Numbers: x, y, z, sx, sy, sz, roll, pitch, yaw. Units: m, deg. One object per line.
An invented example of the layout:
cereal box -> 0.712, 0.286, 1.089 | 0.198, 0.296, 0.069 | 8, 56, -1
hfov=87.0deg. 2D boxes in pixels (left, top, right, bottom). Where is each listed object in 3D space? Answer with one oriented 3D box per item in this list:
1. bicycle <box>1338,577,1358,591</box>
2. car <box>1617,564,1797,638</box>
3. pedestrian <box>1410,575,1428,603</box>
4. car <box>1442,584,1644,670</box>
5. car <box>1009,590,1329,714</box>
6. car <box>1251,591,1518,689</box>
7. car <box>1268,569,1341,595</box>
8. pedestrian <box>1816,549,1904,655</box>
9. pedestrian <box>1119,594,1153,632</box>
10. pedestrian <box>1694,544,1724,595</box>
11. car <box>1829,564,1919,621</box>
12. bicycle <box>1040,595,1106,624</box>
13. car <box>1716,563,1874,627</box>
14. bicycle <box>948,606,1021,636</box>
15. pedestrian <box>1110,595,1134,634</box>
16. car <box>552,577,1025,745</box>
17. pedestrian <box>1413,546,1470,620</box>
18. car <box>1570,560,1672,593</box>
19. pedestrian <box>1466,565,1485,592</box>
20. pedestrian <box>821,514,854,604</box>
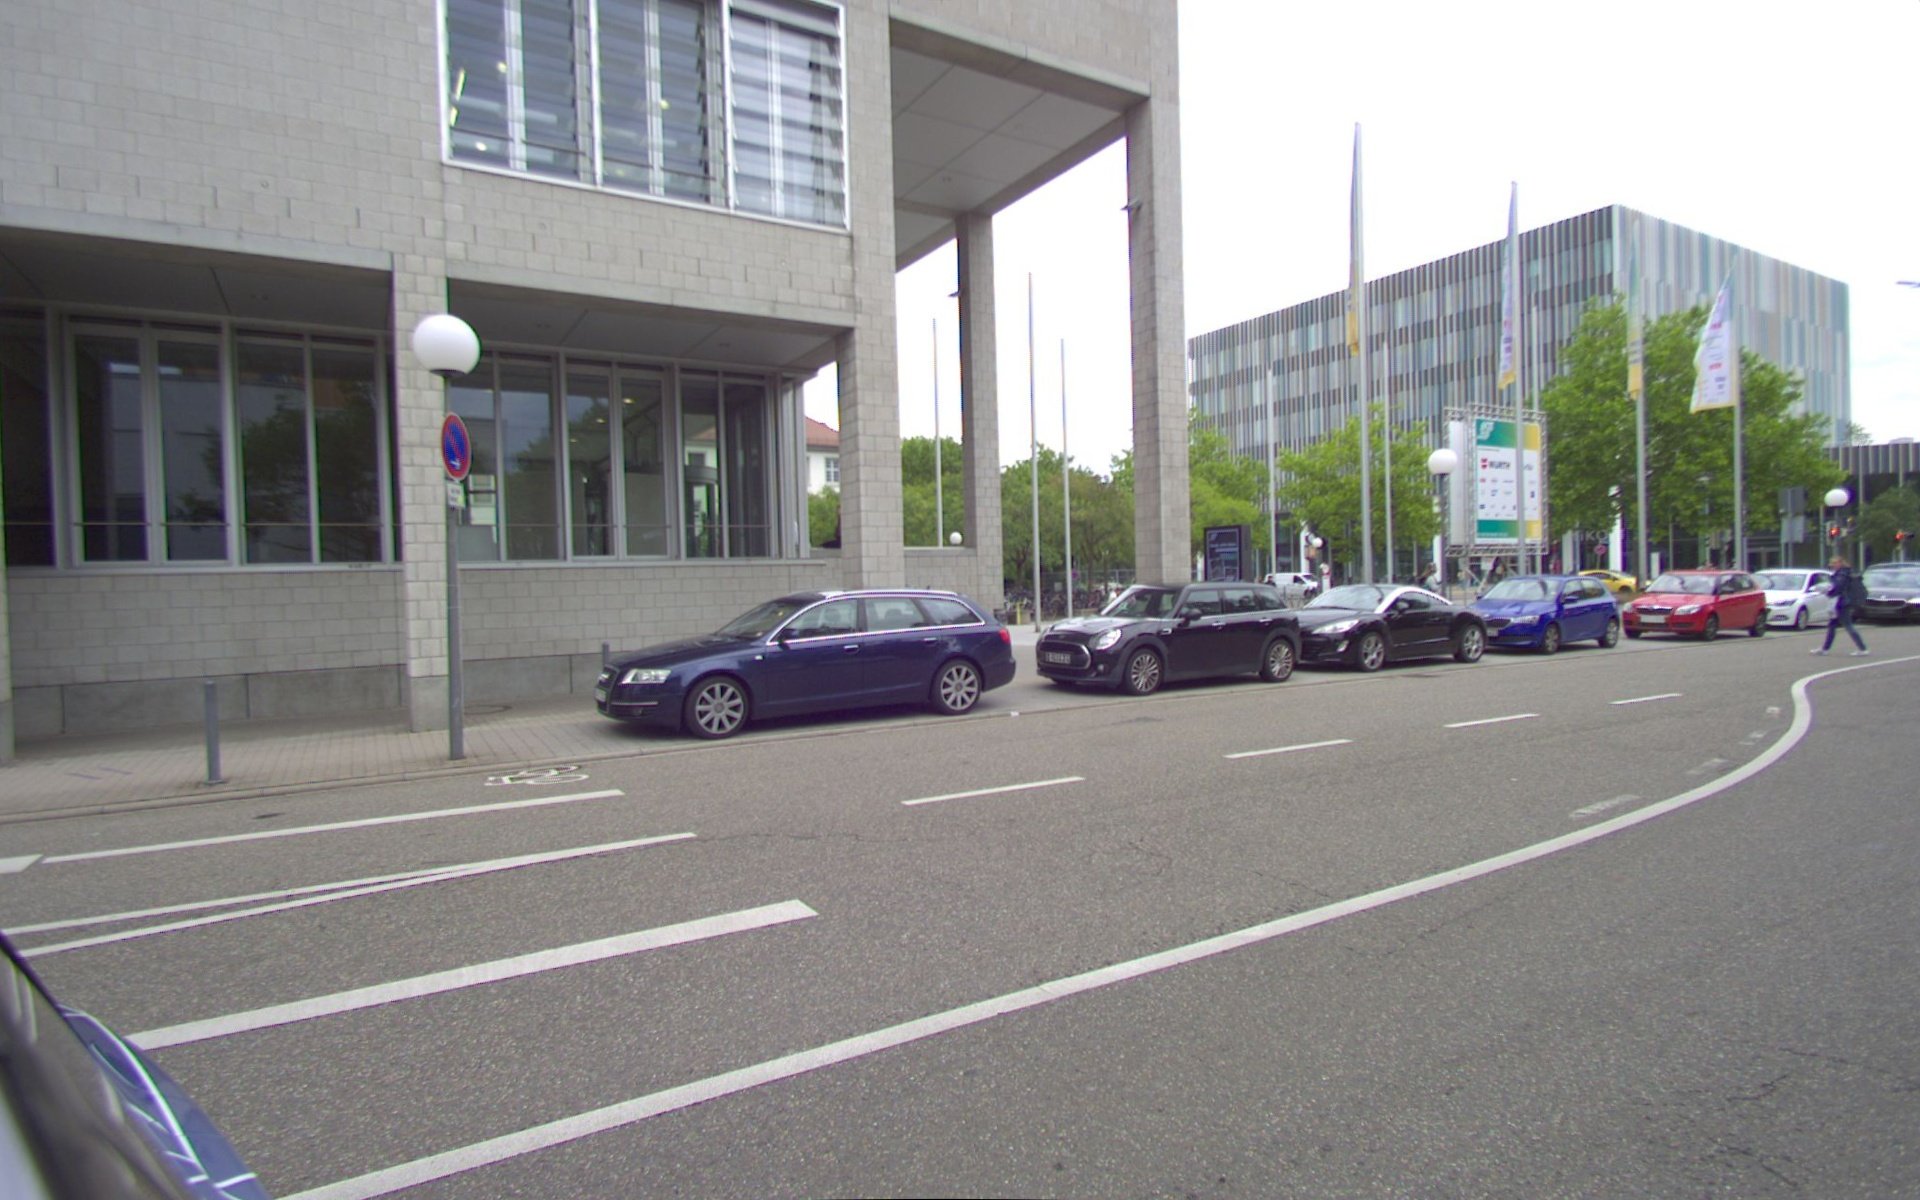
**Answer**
bicycle -> 36.737, -1.498, 95.821 | 2.069, 1.268, 0.630 | -2, 0, -33
car -> 16.463, -0.031, 22.258 | 4.201, 1.484, 1.723 | -1, 2, -31
pedestrian -> 34.469, -0.838, 76.044 | 0.985, 2.029, 0.856 | 2, -3, -42
car -> 11.420, 0.458, 19.726 | 4.304, 1.422, 1.705 | -2, 1, -35
car -> 3.052, 0.626, 14.433 | 4.444, 1.454, 1.829 | -1, 1, -32
car -> 7.147, 0.619, 16.953 | 4.343, 1.453, 1.860 | 0, -1, -30
car -> 25.107, -1.272, 73.866 | 1.966, 1.675, 4.853 | -1, -1, -33
pedestrian -> 14.741, 0.026, 16.583 | 0.951, 1.674, 0.743 | 0, 0, -24
pedestrian -> 6.735, 0.498, 38.718 | 0.954, 1.431, 0.853 | -2, 0, -42
pedestrian -> 26.110, -1.050, 35.289 | 0.576, 1.728, 0.659 | -1, -1, -37
car -> 25.190, -0.248, 27.299 | 1.860, 1.412, 4.432 | -2, 0, 31
bicycle -> 5.065, 0.416, 45.163 | 3.054, 1.179, 0.750 | -2, 0, -29
car -> 20.819, -0.125, 25.218 | 3.793, 1.464, 1.872 | -2, 0, -31
bicycle -> 1.018, 0.852, 40.763 | 3.054, 1.179, 0.624 | 1, -3, -29
pedestrian -> 6.074, 0.550, 37.955 | 0.670, 1.424, 0.762 | -2, 0, 27
car -> -1.841, 0.545, 11.428 | 4.839, 1.463, 2.006 | -2, 0, -31
pedestrian -> 11.087, -0.375, 23.319 | 0.915, 1.653, 0.739 | 1, -3, -27
car -> 36.118, -1.287, 55.363 | 1.966, 1.630, 4.205 | -2, 0, -33
pedestrian -> 40.514, -1.706, 79.585 | 0.840, 2.029, 1.004 | 1, -3, -23
pedestrian -> -2.364, -0.776, 19.513 | 0.621, 1.671, 0.808 | 0, -2, -6
